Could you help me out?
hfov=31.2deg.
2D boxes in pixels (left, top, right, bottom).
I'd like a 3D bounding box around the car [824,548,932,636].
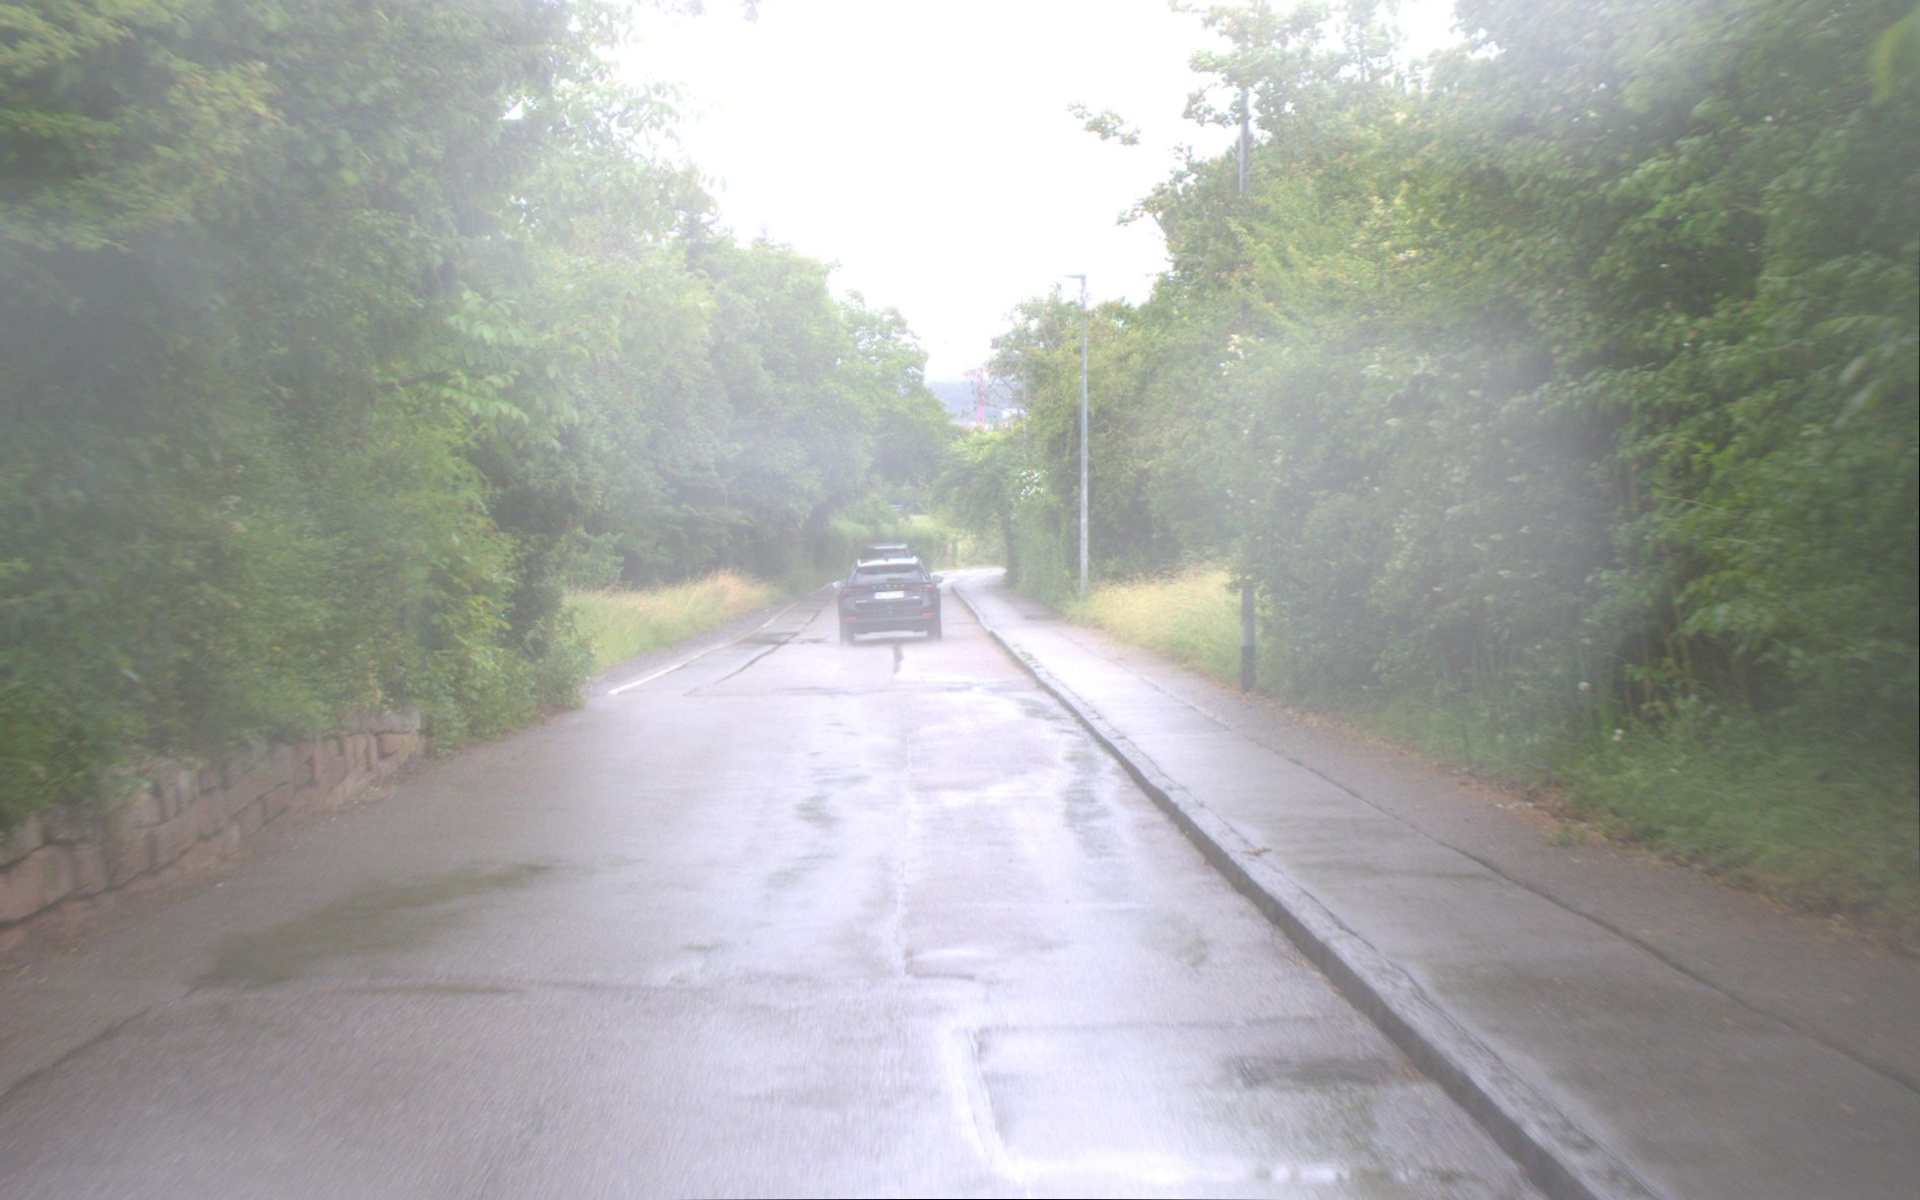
[{"bbox_3d":[-1.399,-0.133,59.788,1.635,1.445,3.544,-1,0,2],"label":"car"}]
